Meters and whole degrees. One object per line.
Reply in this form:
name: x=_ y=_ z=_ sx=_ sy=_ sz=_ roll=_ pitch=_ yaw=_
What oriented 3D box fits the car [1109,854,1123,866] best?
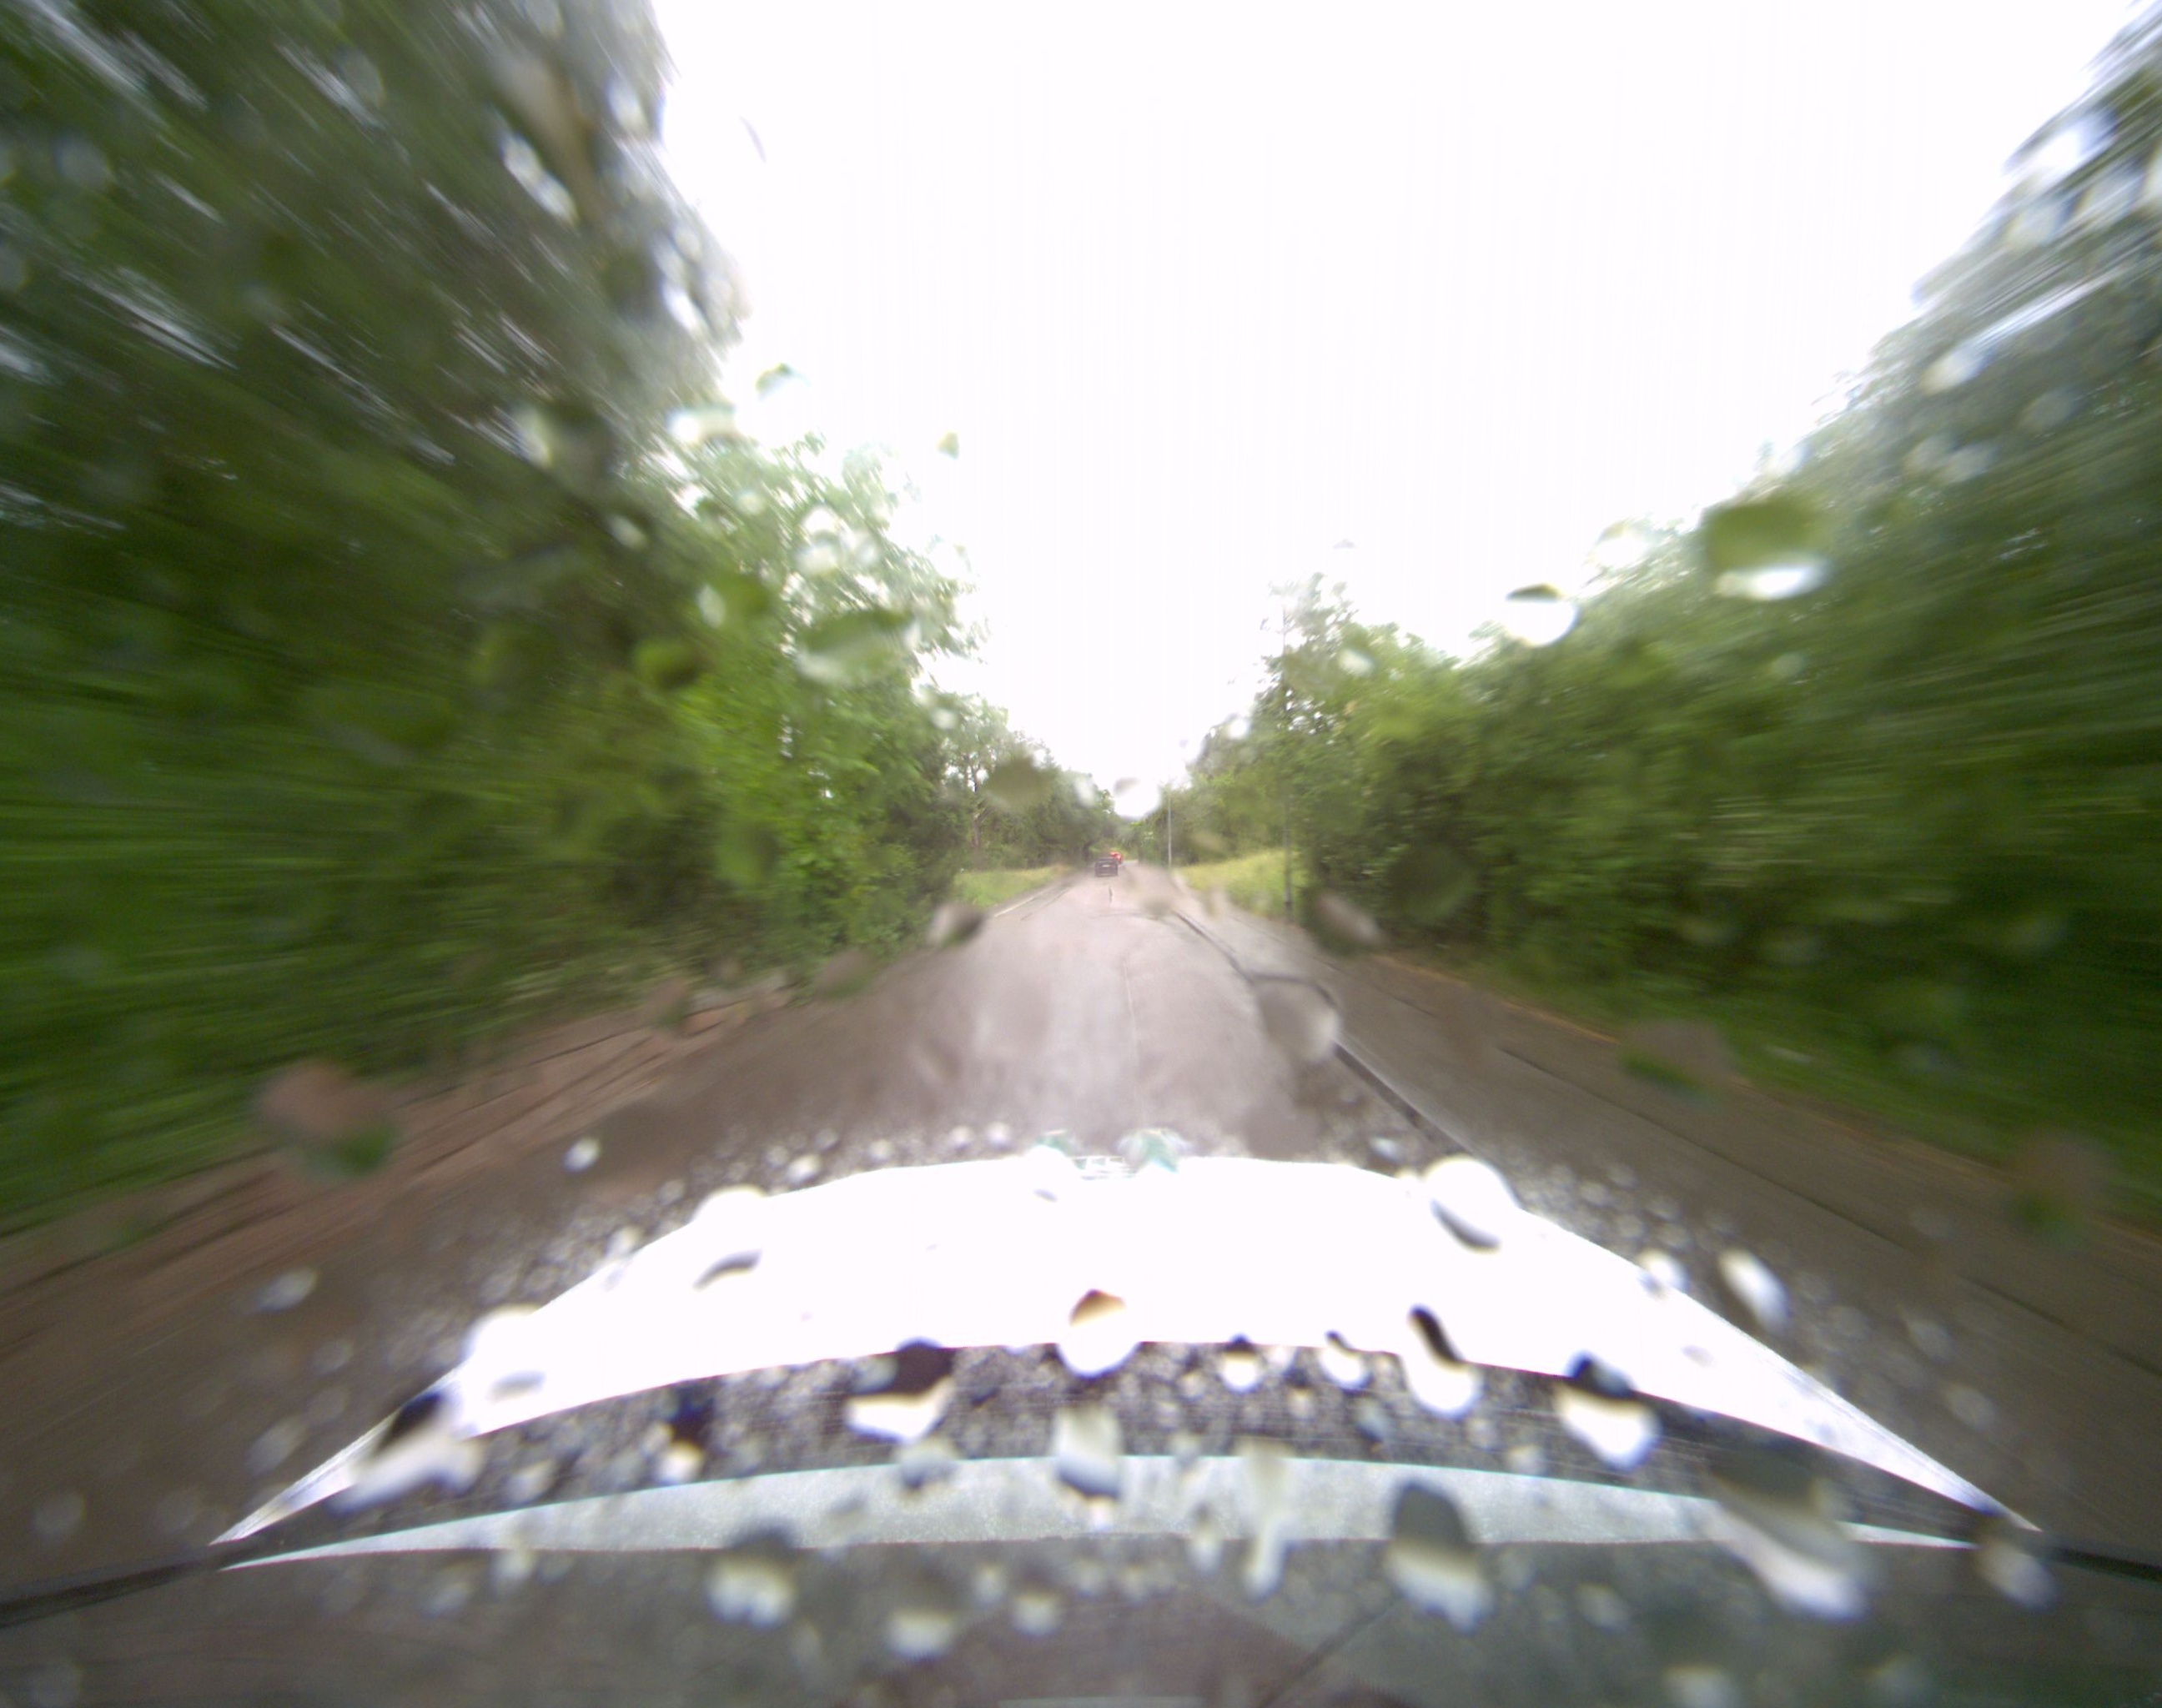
car: x=4.553 y=0.741 z=105.312 sx=1.626 sy=1.414 sz=3.550 roll=-2 pitch=-2 yaw=6

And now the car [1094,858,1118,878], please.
car: x=1.970 y=1.106 z=62.924 sx=1.627 sy=1.450 sz=3.549 roll=-2 pitch=-2 yaw=5
